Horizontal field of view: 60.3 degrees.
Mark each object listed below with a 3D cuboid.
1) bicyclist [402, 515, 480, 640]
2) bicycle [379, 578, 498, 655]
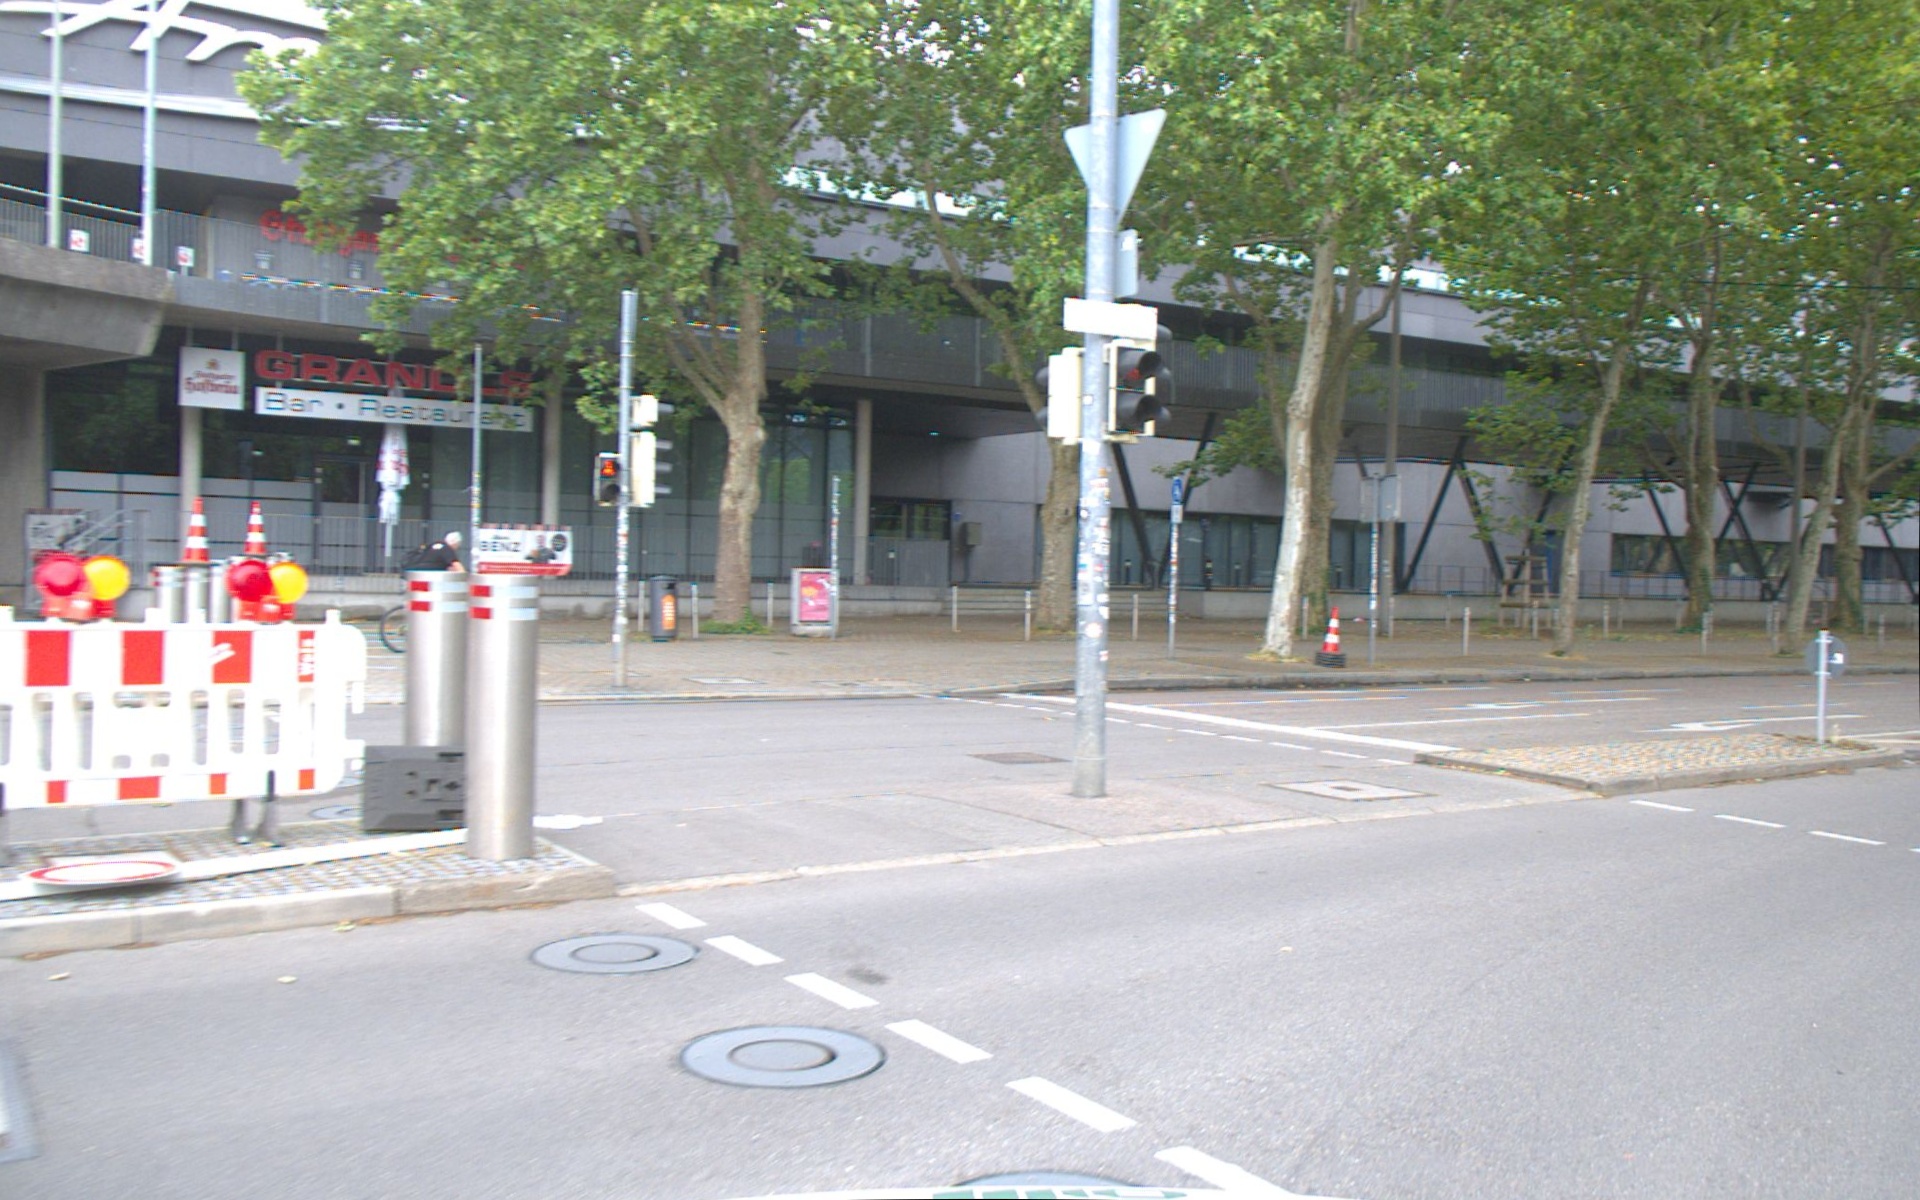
[{"bbox_3d":[-7.463,-0.319,23.760,0.843,1.727,0.758,3,-1,-33],"label":"bicyclist"},{"bbox_3d":[-7.478,0.241,23.749,1.518,1.031,0.511,3,-1,-33],"label":"bicycle"}]
